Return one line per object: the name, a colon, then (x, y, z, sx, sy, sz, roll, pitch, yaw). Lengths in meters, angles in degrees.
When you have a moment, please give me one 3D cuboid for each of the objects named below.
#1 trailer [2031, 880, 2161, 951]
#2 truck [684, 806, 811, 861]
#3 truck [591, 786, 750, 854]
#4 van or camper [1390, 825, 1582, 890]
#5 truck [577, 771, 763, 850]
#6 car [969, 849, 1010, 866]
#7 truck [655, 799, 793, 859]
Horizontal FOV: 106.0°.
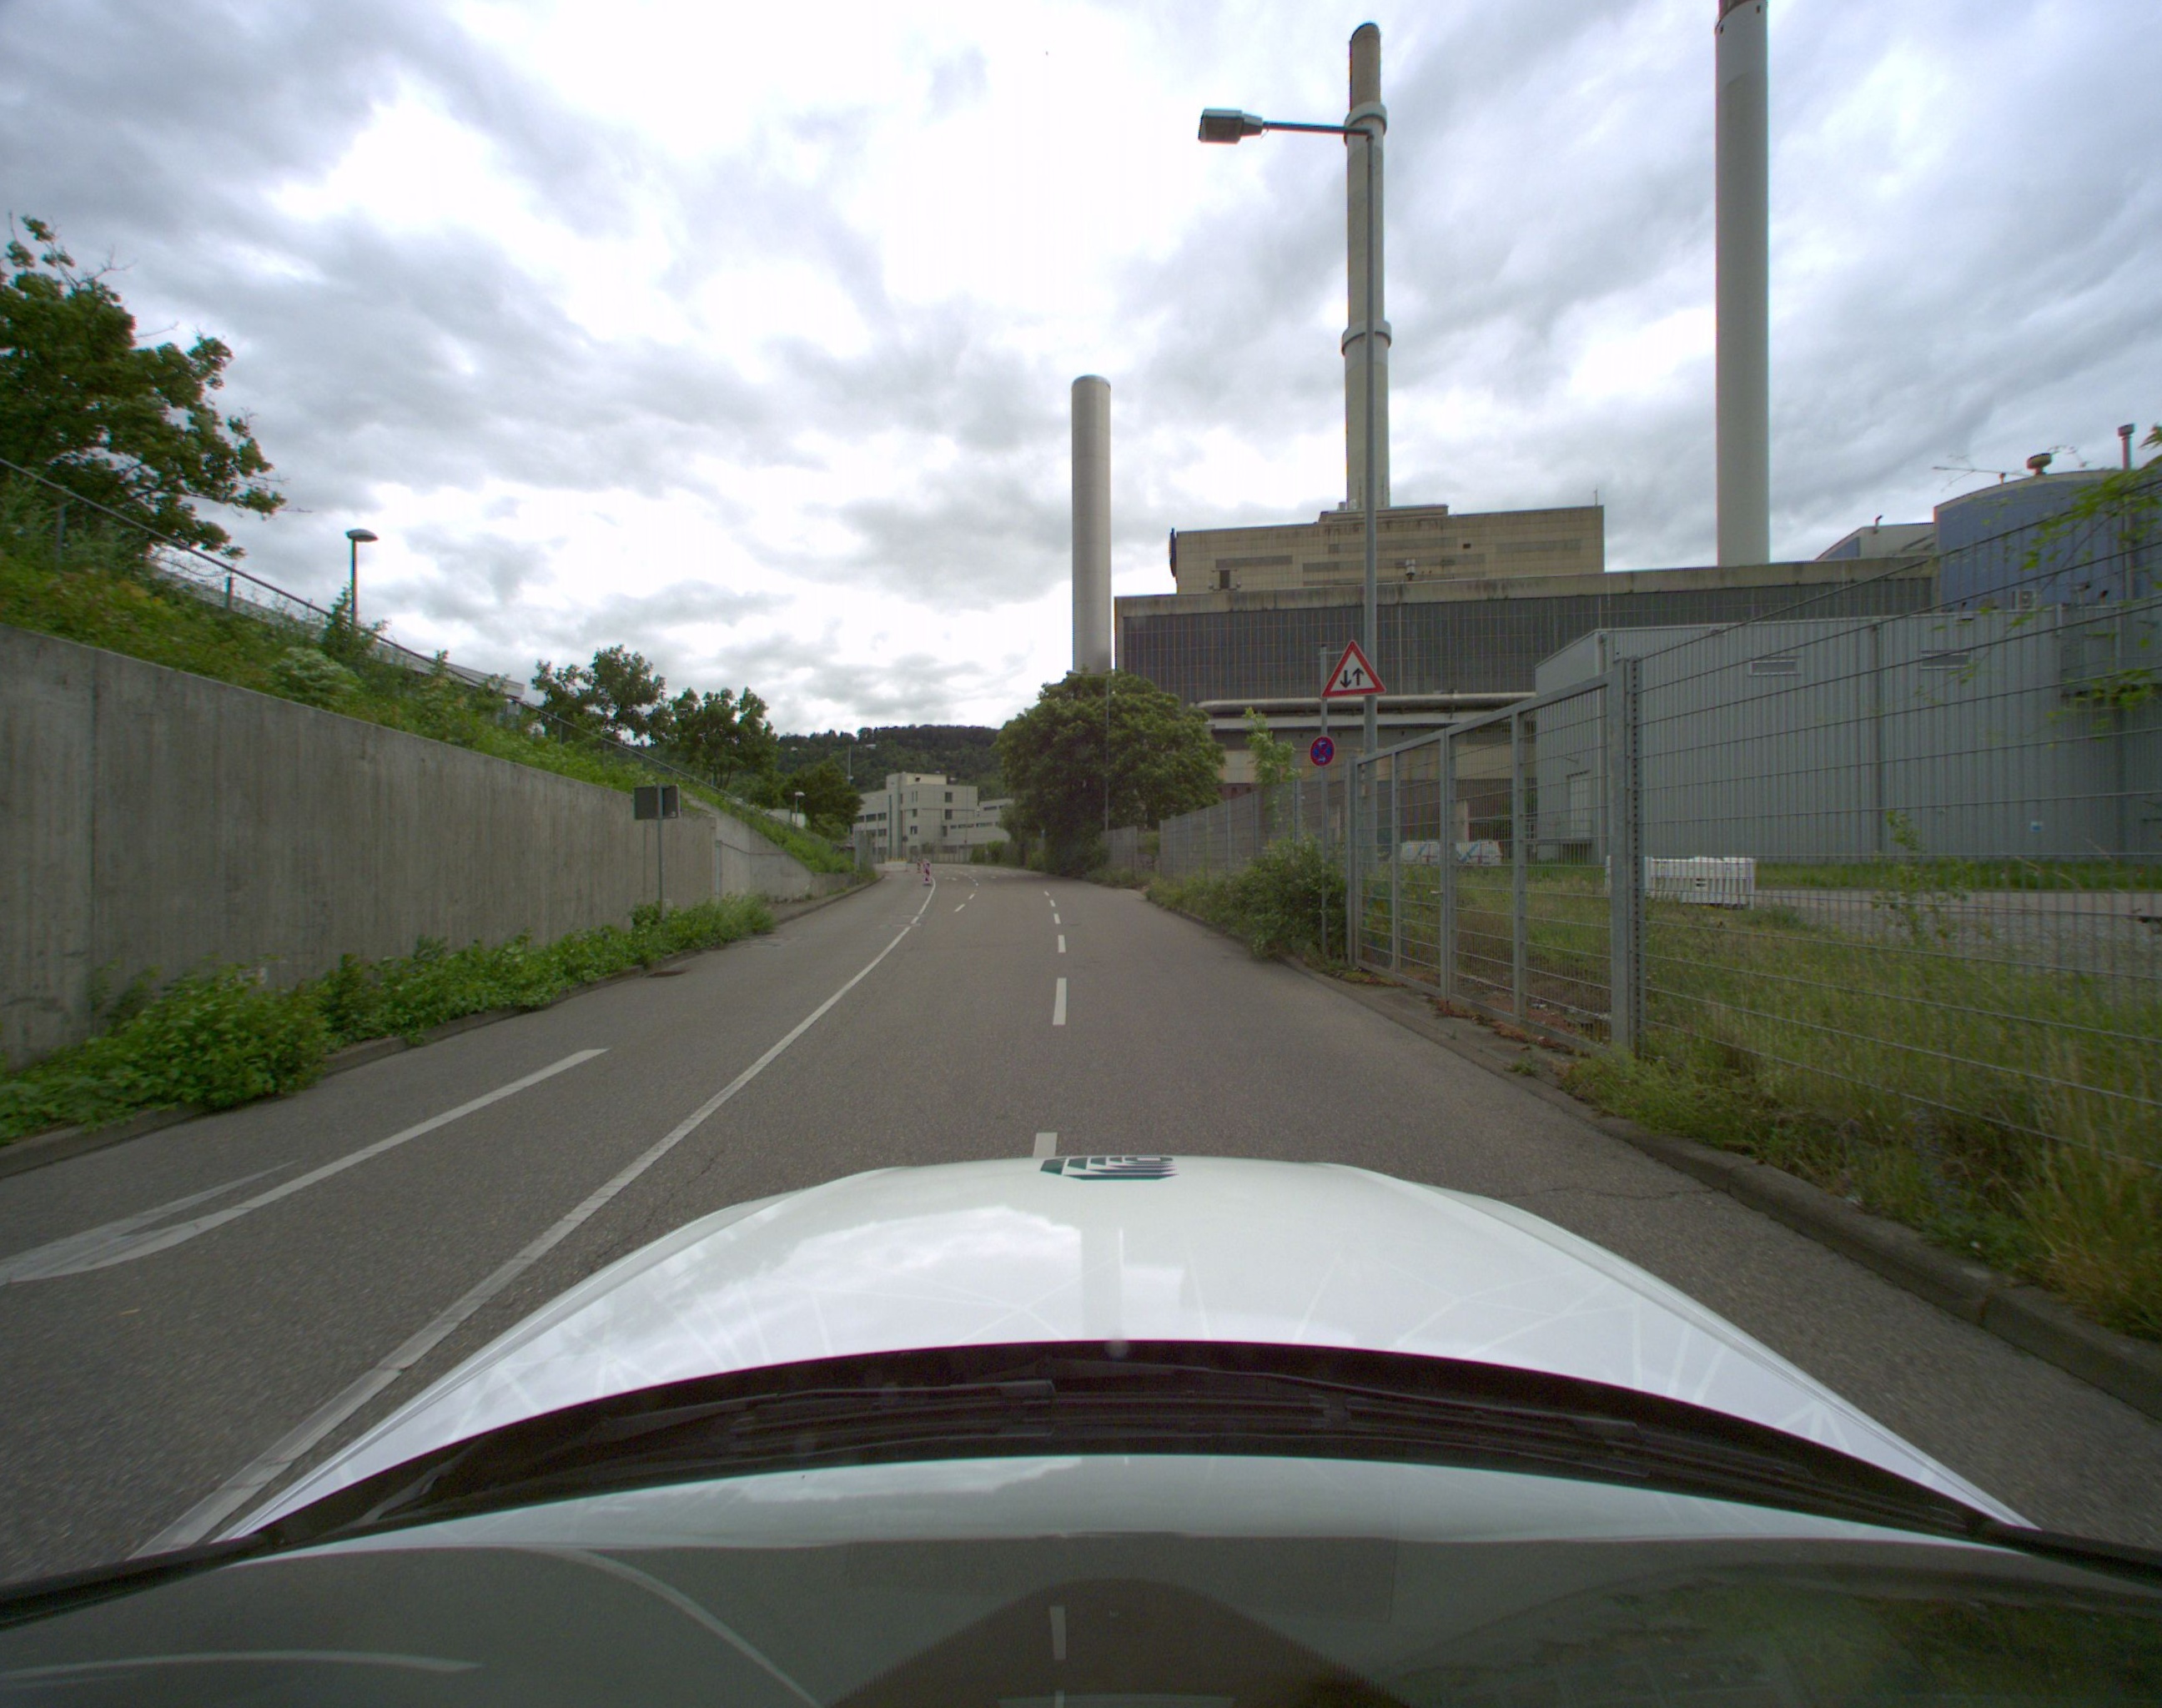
trailer: (14.512, 0.774, 9.276, 2.285, 0.815, 4.700, -1, 0, 8)
truck: (-23.777, -1.337, 58.213, 7.902, 3.539, 3.018, 0, -3, -37)
truck: (-24.024, -1.846, 47.878, 7.905, 3.539, 3.017, 1, -3, -39)
van or camper: (29.829, 0.294, 60.399, 11.812, 4.531, 5.464, -1, -2, -11)
truck: (-21.247, -2.066, 42.438, 8.195, 3.539, 3.017, 1, -3, -39)
car: (-13.106, 0.476, 116.403, 6.090, 2.263, 2.013, 1, -1, 35)
truck: (-23.397, -1.507, 53.499, 7.897, 3.539, 3.020, 0, -3, -34)
